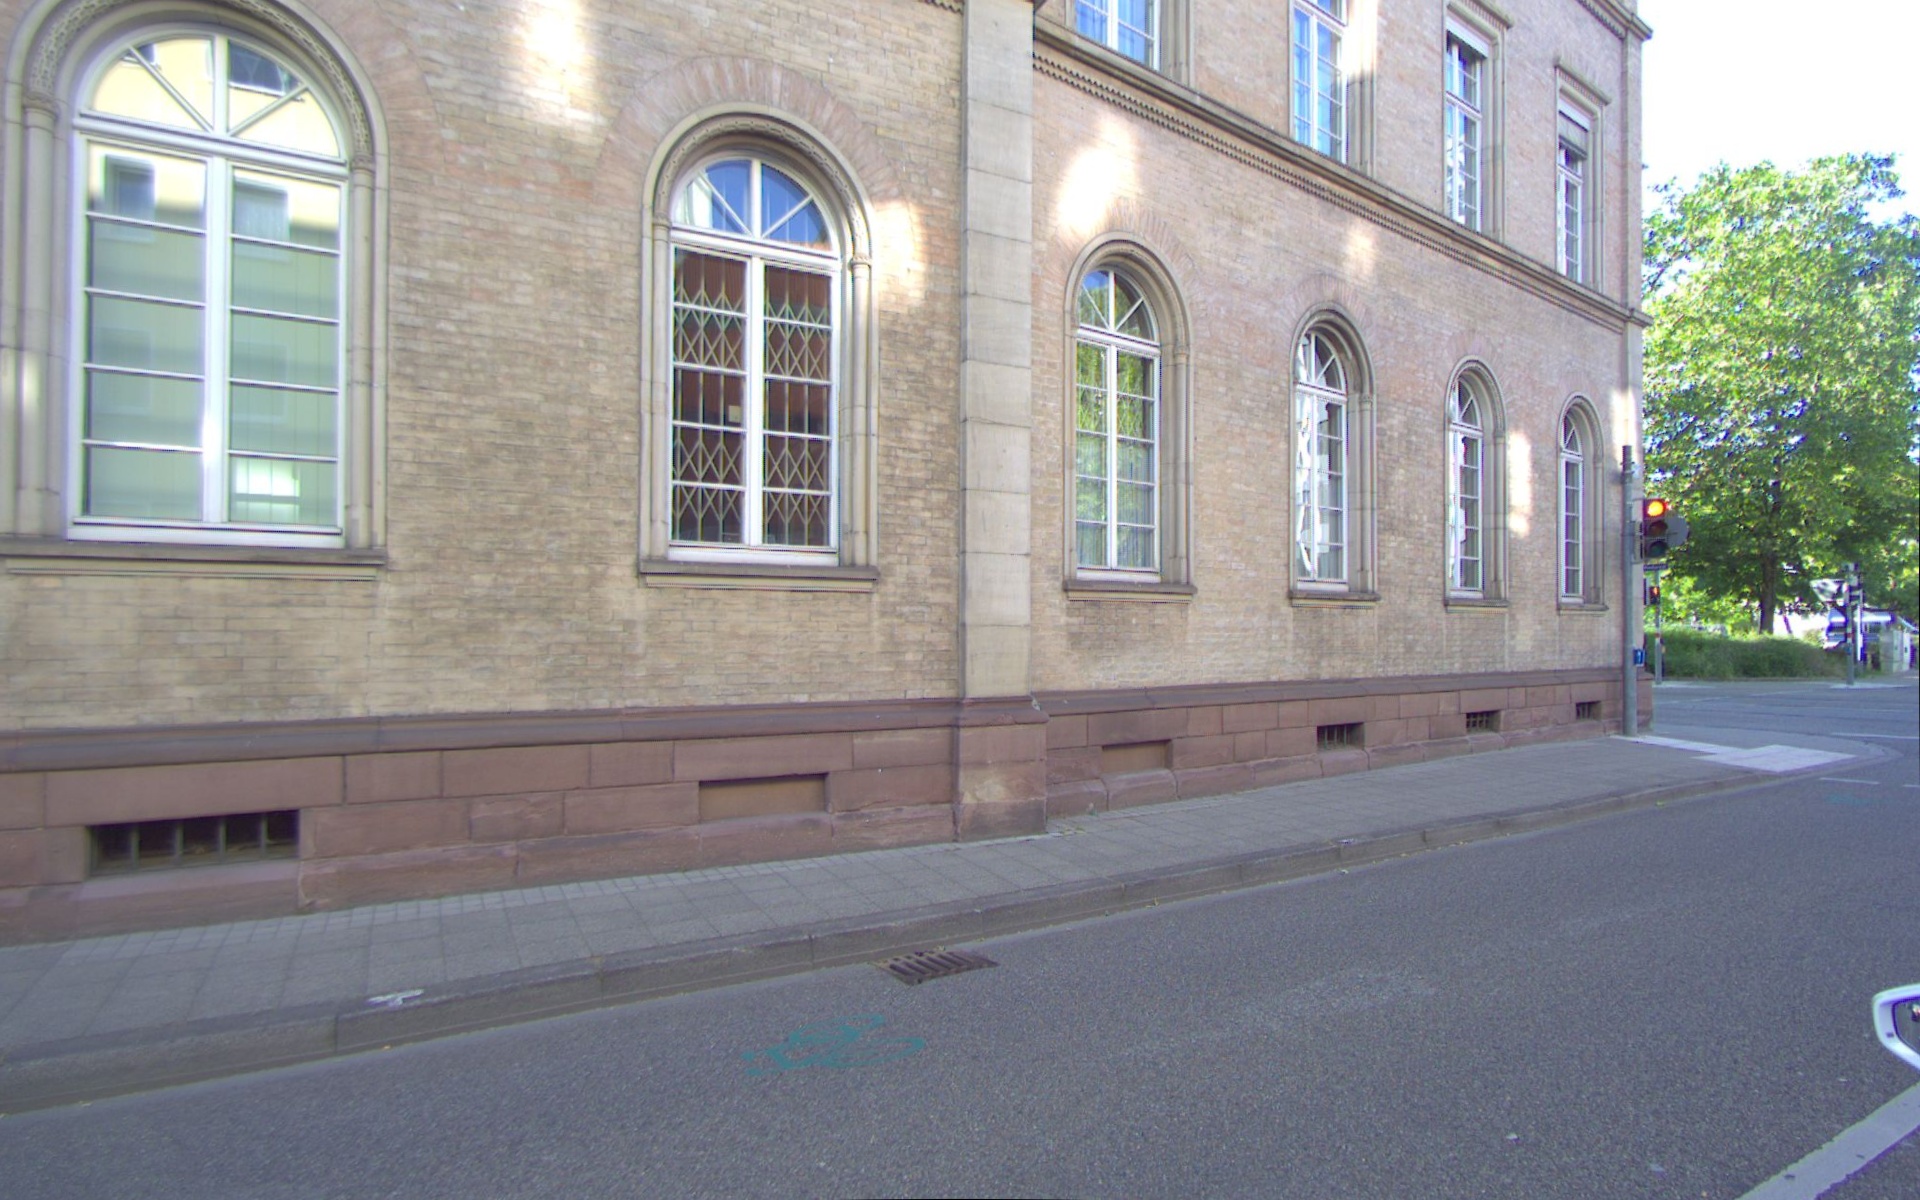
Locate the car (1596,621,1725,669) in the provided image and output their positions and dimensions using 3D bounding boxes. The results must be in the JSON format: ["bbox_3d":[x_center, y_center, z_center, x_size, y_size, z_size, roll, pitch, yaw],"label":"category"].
[{"bbox_3d":[24.379,1.526,35.027,1.636,1.476,3.382,2,0,-39],"label":"car"}]

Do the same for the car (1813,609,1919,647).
[{"bbox_3d":[53.500,1.617,59.388,1.983,2.040,4.409,2,0,-38],"label":"car"}]
